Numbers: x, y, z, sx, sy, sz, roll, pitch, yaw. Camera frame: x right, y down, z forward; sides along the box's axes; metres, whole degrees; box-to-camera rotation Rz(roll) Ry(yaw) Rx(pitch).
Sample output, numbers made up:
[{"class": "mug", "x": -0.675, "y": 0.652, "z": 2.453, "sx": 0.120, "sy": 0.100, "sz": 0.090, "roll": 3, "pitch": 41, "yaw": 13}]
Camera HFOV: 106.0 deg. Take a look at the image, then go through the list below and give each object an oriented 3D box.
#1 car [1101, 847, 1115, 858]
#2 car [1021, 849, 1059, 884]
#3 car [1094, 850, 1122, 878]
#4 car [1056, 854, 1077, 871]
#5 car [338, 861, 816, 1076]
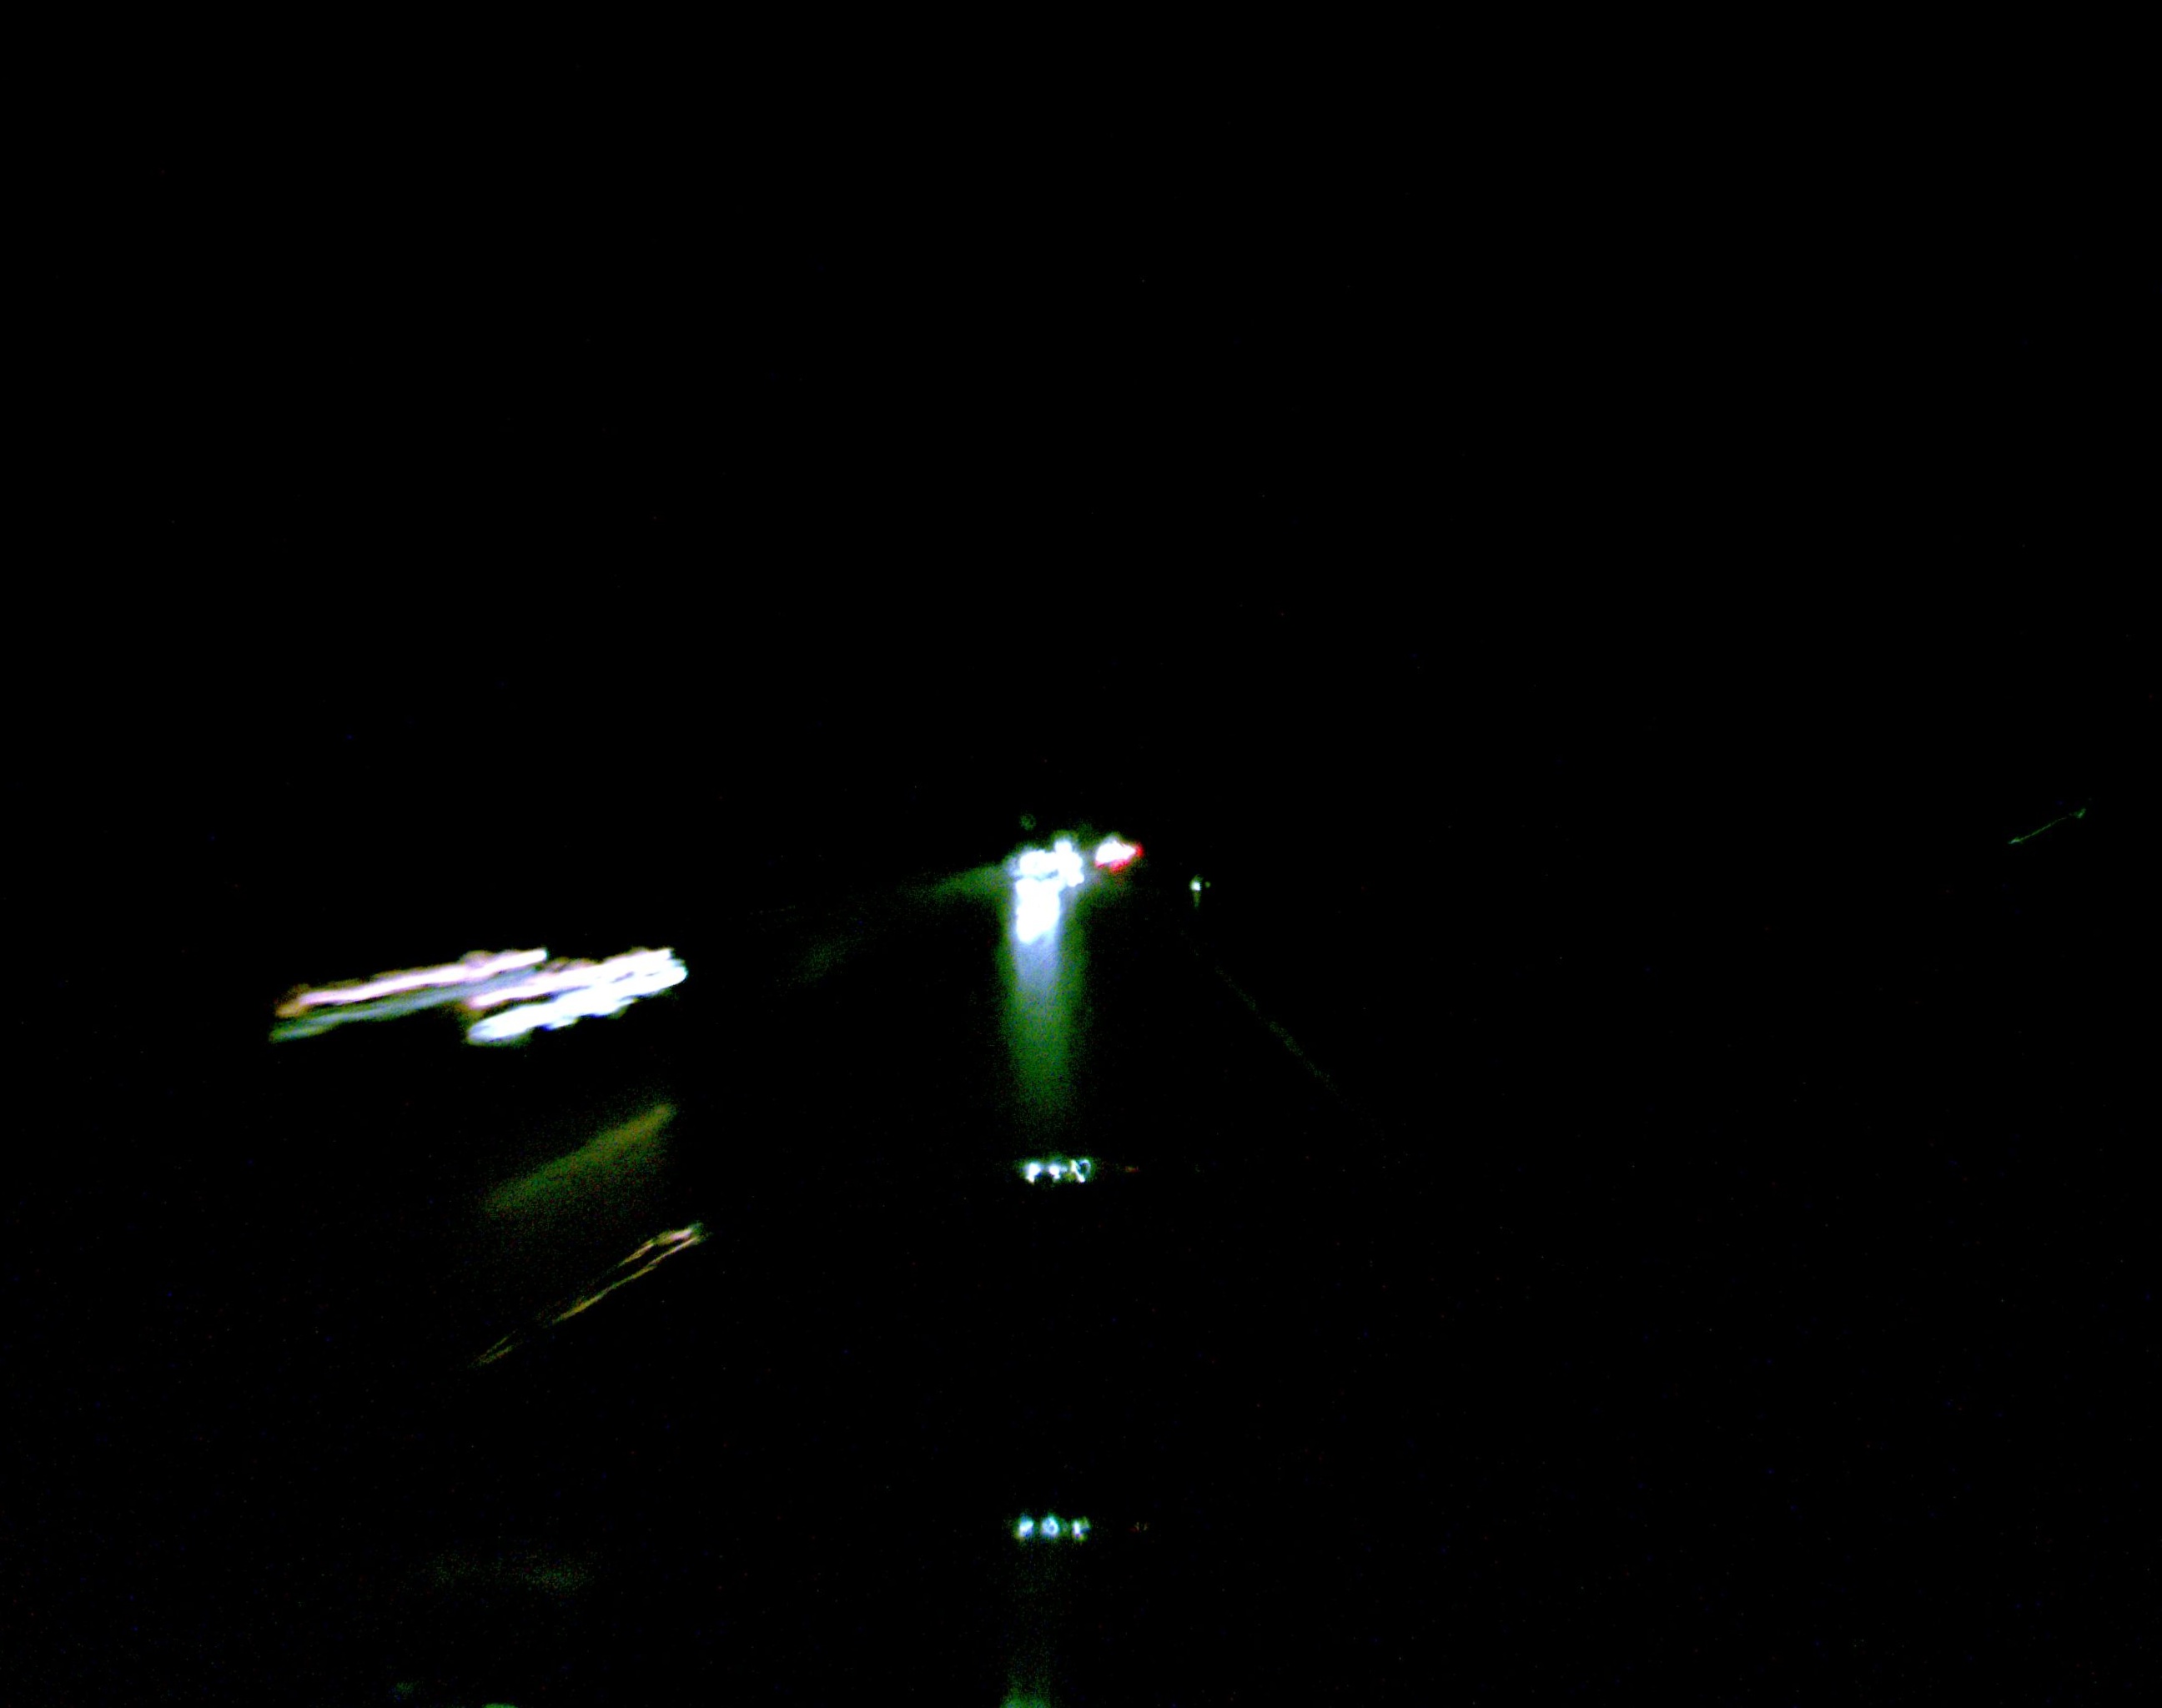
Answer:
[{"class": "car", "x": 4.165, "y": -0.187, "z": 124.083, "sx": 1.984, "sy": 1.624, "sz": 4.005, "roll": 1, "pitch": 0, "yaw": 5}, {"class": "car", "x": -2.354, "y": 0.727, "z": 47.740, "sx": 1.796, "sy": 1.928, "sz": 4.003, "roll": 0, "pitch": -1, "yaw": 3}, {"class": "car", "x": 1.797, "y": 0.656, "z": 54.696, "sx": 1.836, "sy": 1.740, "sz": 4.002, "roll": 0, "pitch": 1, "yaw": 1}, {"class": "car", "x": -1.268, "y": 0.763, "z": 70.641, "sx": 1.590, "sy": 1.402, "sz": 3.472, "roll": 0, "pitch": -1, "yaw": 2}, {"class": "car", "x": -4.067, "y": 0.798, "z": 7.513, "sx": 1.812, "sy": 1.441, "sz": 4.001, "roll": 0, "pitch": -1, "yaw": 2}]
